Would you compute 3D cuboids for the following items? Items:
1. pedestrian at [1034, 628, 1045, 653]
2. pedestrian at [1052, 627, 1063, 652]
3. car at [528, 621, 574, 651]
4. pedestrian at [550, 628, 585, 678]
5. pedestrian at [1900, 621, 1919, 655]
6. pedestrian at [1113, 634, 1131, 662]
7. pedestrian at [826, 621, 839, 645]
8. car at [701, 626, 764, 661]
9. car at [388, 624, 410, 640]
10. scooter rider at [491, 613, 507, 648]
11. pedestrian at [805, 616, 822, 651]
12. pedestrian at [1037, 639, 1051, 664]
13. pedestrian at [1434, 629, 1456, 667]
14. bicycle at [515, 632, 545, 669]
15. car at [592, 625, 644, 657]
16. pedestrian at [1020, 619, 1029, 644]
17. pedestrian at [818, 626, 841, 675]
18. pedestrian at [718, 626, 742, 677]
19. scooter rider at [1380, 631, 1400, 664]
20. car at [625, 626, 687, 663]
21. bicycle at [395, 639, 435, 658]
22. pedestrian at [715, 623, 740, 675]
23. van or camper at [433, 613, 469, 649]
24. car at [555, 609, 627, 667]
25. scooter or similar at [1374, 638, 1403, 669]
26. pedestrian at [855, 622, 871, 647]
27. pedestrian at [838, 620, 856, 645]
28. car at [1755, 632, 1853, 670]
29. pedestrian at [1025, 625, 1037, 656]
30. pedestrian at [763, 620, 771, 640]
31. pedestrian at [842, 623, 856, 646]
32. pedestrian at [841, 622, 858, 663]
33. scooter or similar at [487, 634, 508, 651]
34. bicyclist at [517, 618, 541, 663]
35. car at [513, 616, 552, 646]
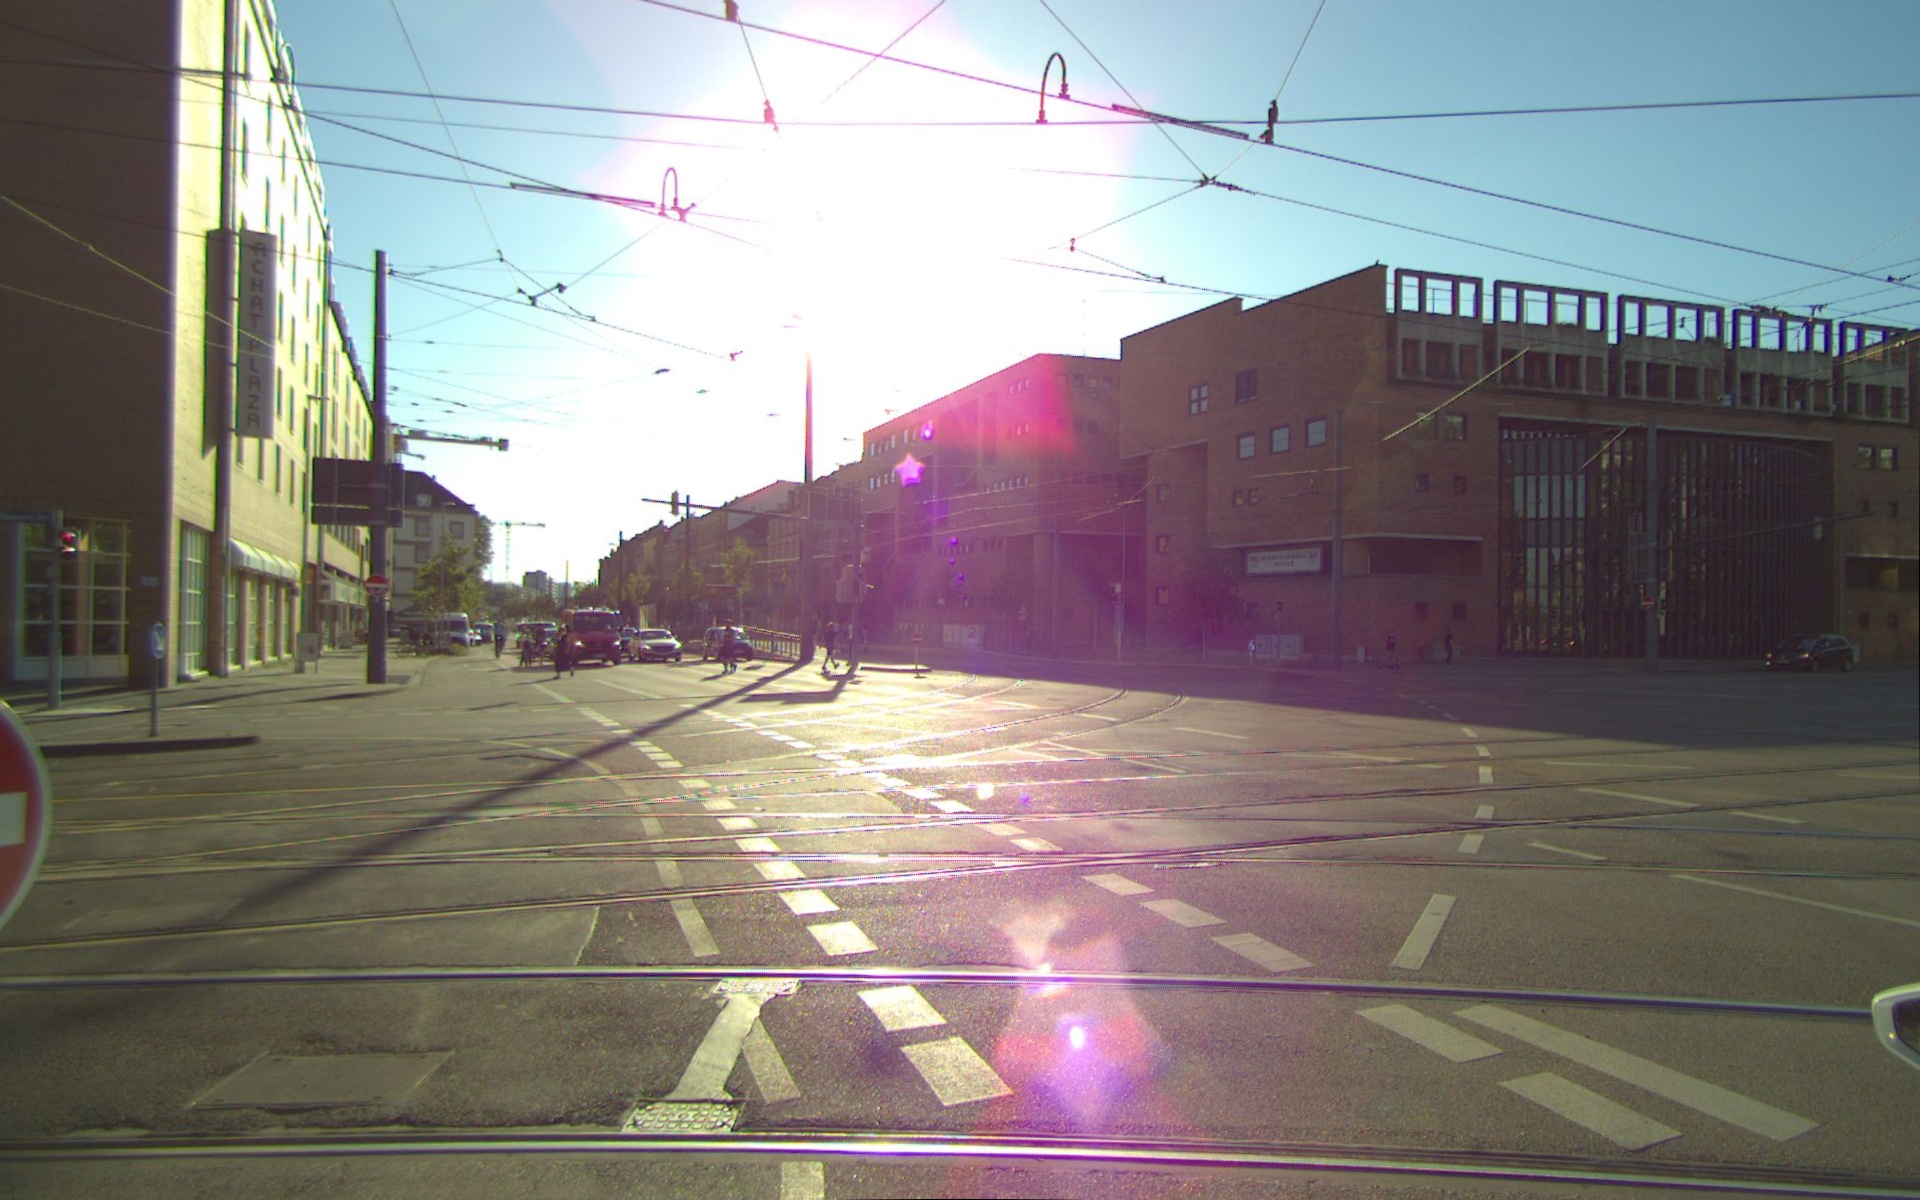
[{"bbox_3d":[5.714,2.899,71.984,0.529,1.779,0.693,1,-1,-18],"label":"pedestrian"},{"bbox_3d":[6.988,2.825,72.151,0.529,1.779,0.693,1,-1,-18],"label":"pedestrian"},{"bbox_3d":[-22.962,1.993,56.367,1.870,1.553,3.968,1,-1,-30],"label":"car"},{"bbox_3d":[-12.644,1.700,32.368,0.537,1.574,0.866,0,-1,36],"label":"pedestrian"},{"bbox_3d":[56.934,2.267,59.960,0.743,2.040,0.899,1,-1,-4],"label":"pedestrian"},{"bbox_3d":[9.268,2.745,57.523,0.704,1.559,0.848,1,-1,-20],"label":"pedestrian"},{"bbox_3d":[-8.915,2.295,70.177,0.652,1.694,0.665,1,-2,-34],"label":"pedestrian"},{"bbox_3d":[-10.605,1.979,46.631,1.742,1.467,3.968,1,-1,-30],"label":"car"},{"bbox_3d":[-59.893,3.393,107.233,1.823,1.606,4.119,1,-1,-33],"label":"car"},{"bbox_3d":[-23.525,1.546,51.277,0.524,1.778,0.571,0,-1,-2],"label":"scooter rider"},{"bbox_3d":[-7.118,1.629,48.928,0.670,1.706,0.573,1,-1,-24],"label":"pedestrian"},{"bbox_3d":[5.923,3.615,70.930,0.728,1.779,0.688,2,-2,-37],"label":"pedestrian"},{"bbox_3d":[22.729,2.254,47.102,0.807,1.739,0.665,0,-1,15],"label":"pedestrian"},{"bbox_3d":[-17.397,2.014,40.588,0.921,1.461,2.088,1,-2,-28],"label":"bicycle"},{"bbox_3d":[-18.151,2.152,53.240,1.870,1.553,3.968,1,-1,-30],"label":"car"},{"bbox_3d":[4.644,2.296,72.225,0.531,1.779,0.461,1,-1,-29],"label":"pedestrian"},{"bbox_3d":[-4.641,1.799,35.812,0.616,1.724,0.745,1,-1,-24],"label":"pedestrian"},{"bbox_3d":[-7.944,1.757,34.701,0.629,1.740,0.778,0,-1,0],"label":"pedestrian"},{"bbox_3d":[19.525,2.142,45.607,0.503,1.480,0.715,1,-2,-35],"label":"scooter rider"},{"bbox_3d":[-14.049,2.005,46.302,1.870,1.553,3.968,1,-1,-30],"label":"car"},{"bbox_3d":[-28.690,2.556,52.866,1.699,0.993,0.640,1,-1,-10],"label":"bicycle"},{"bbox_3d":[-7.826,1.637,33.849,0.629,1.740,0.778,0,-1,0],"label":"pedestrian"},{"bbox_3d":[-33.611,2.007,66.404,1.974,2.199,5.577,1,0,-26],"label":"van or camper"},{"bbox_3d":[-15.938,1.610,43.185,2.060,2.319,5.224,1,-2,-29],"label":"car"},{"bbox_3d":[19.470,2.424,45.671,0.524,1.335,1.121,1,-2,-36],"label":"scooter or similar"},{"bbox_3d":[-6.570,2.330,67.872,0.880,1.694,0.667,1,-1,-30],"label":"pedestrian"},{"bbox_3d":[-7.888,2.257,70.112,0.880,1.694,1.087,1,-2,-30],"label":"pedestrian"},{"bbox_3d":[39.345,2.363,46.825,4.440,1.676,1.828,1,-2,-26],"label":"car"},{"bbox_3d":[3.643,2.054,51.427,0.482,1.559,0.550,1,-1,-14],"label":"pedestrian"},{"bbox_3d":[-17.027,2.629,88.600,0.500,1.755,0.647,1,-1,-28],"label":"pedestrian"},{"bbox_3d":[-7.461,2.344,67.801,0.676,1.503,0.823,2,-2,-27],"label":"pedestrian"},{"bbox_3d":[-4.777,1.810,43.304,0.631,1.740,0.776,1,-1,-15],"label":"pedestrian"},{"bbox_3d":[-23.536,2.139,51.142,0.534,0.842,1.239,0,-2,-2],"label":"scooter or similar"},{"bbox_3d":[-17.459,1.626,40.686,0.808,1.810,0.810,1,-2,-29],"label":"bicyclist"},{"bbox_3d":[-28.420,2.040,66.730,1.870,1.891,4.282,1,-1,-30],"label":"car"}]
